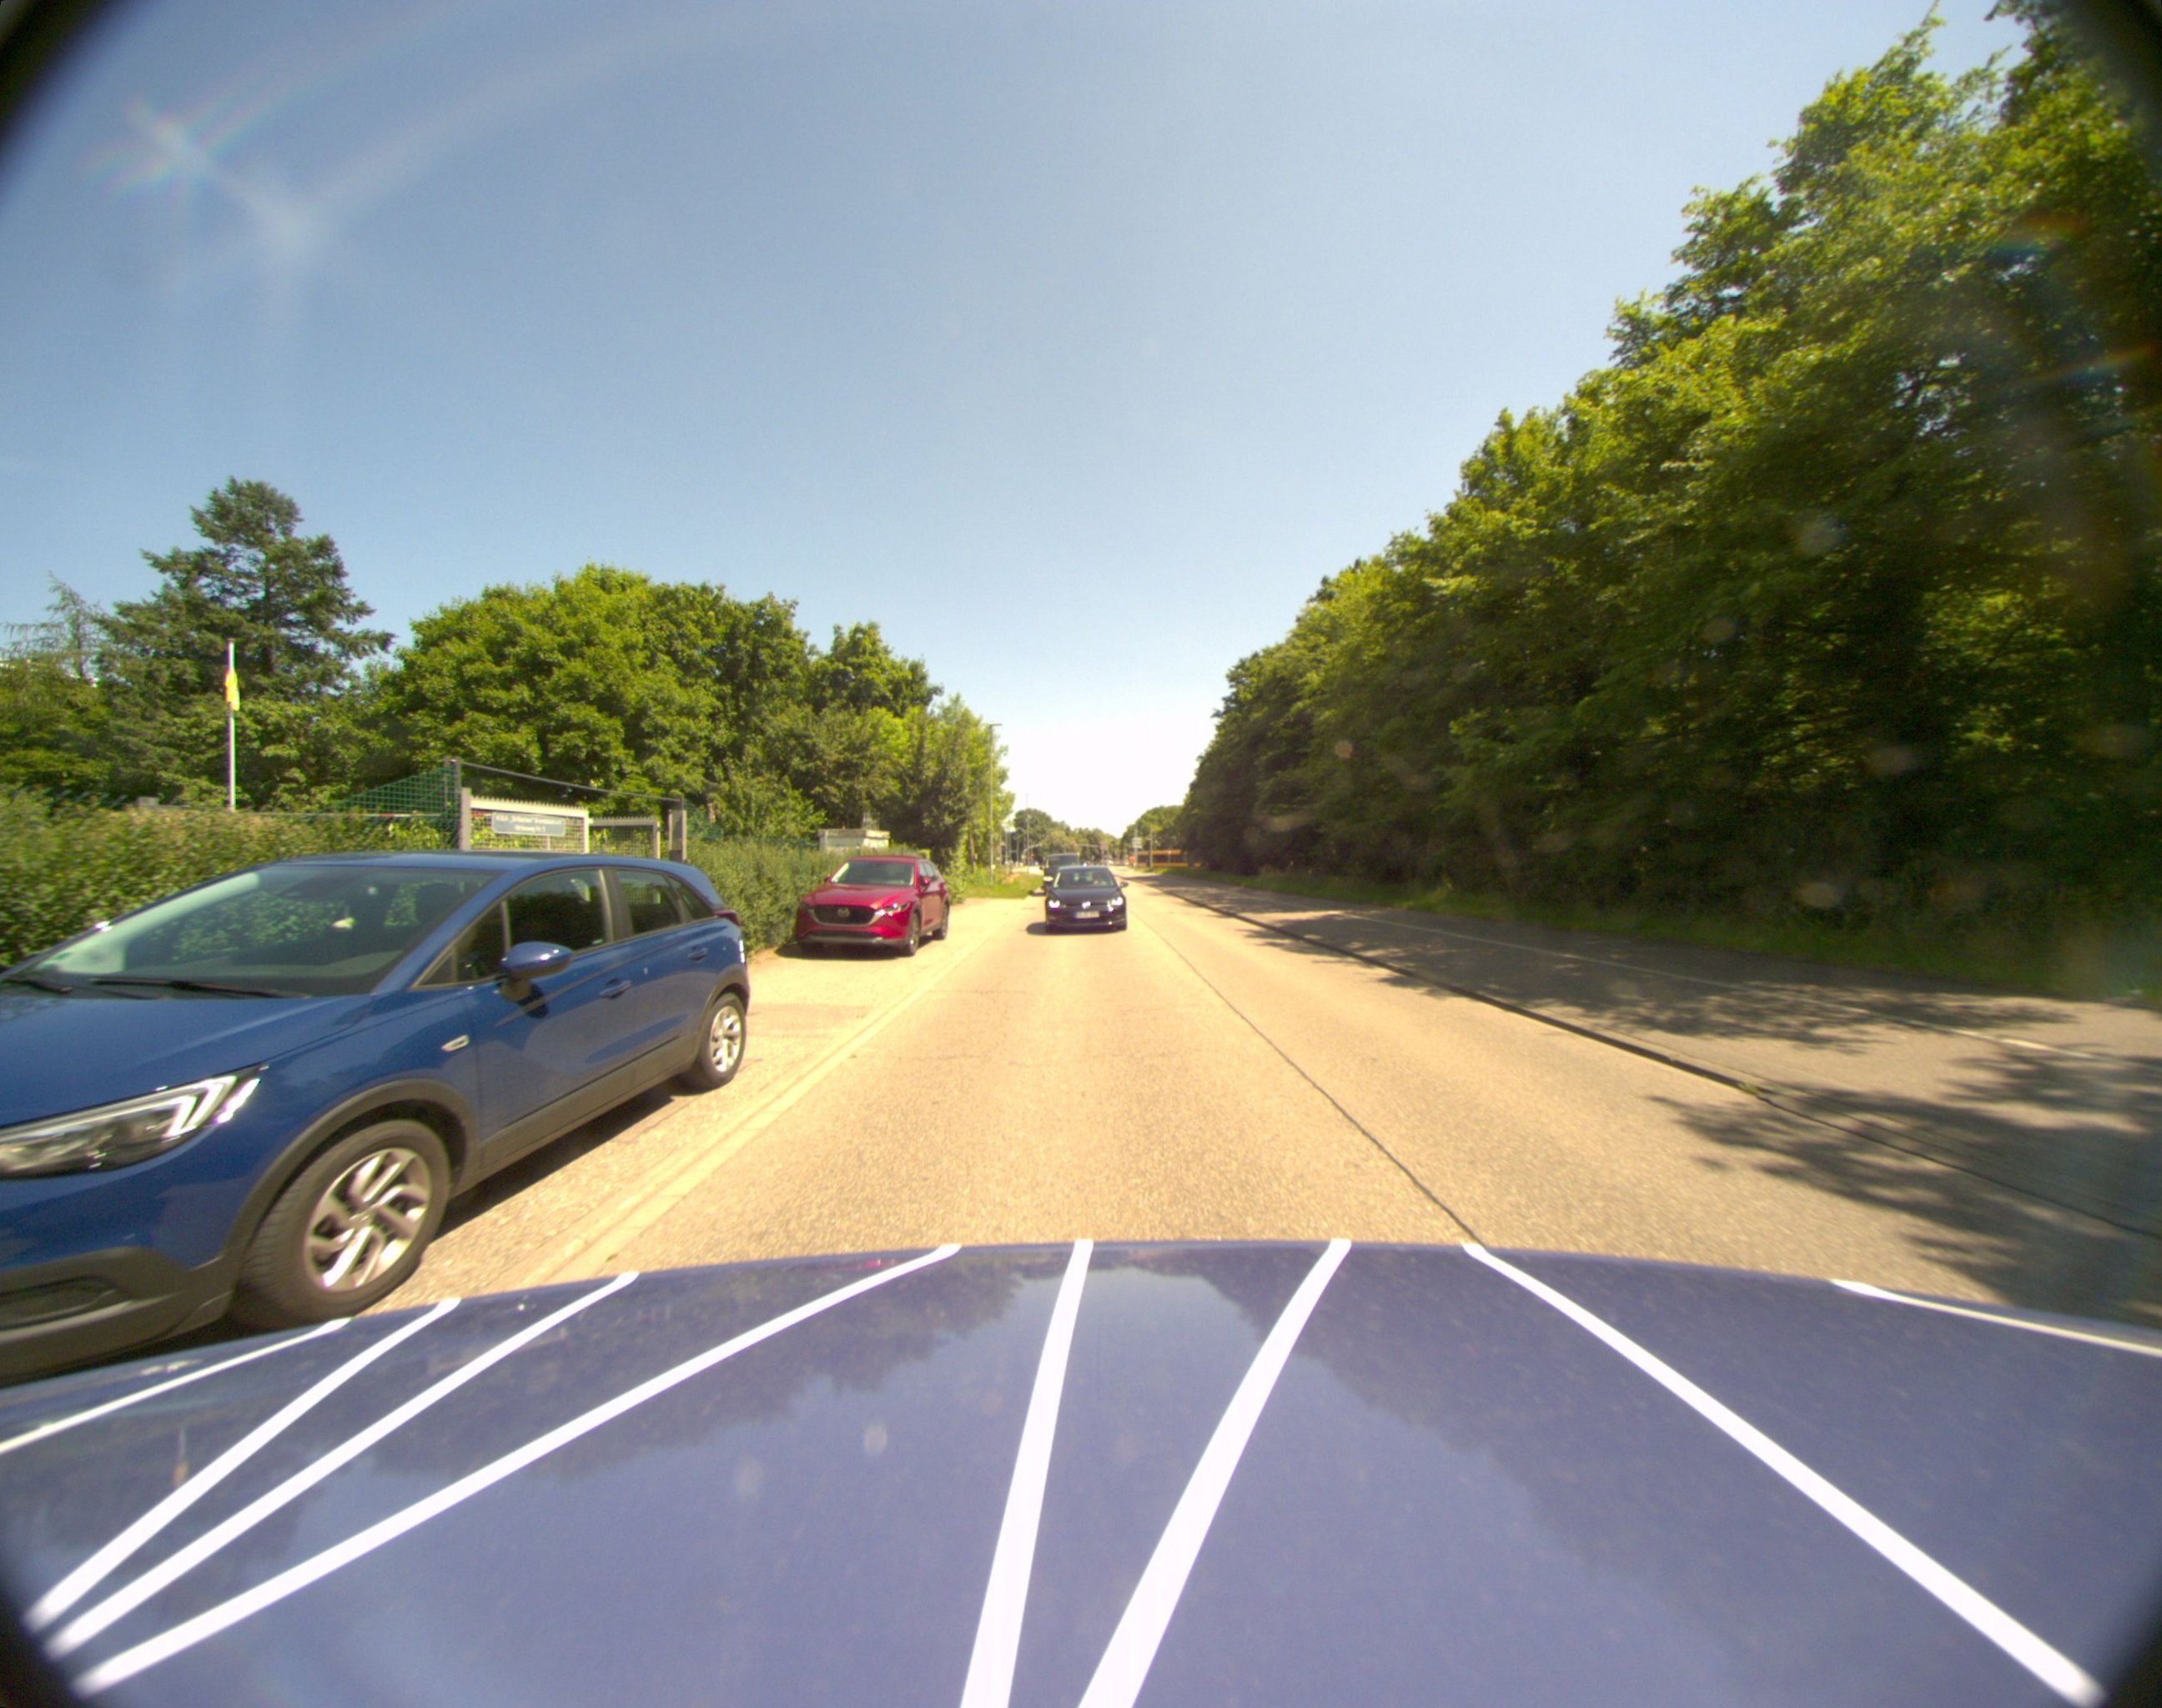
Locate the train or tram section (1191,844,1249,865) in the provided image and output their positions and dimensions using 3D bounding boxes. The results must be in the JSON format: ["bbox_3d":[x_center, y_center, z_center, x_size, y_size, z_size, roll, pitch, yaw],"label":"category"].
[{"bbox_3d":[23.615,0.088,129.284,9.327,3.445,2.788,-1,0,31],"label":"train or tram section"}]

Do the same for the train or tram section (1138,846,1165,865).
[{"bbox_3d":[13.418,0.383,145.351,2.579,3.445,10.846,-1,0,-8],"label":"train or tram section"}]

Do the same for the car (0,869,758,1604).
[{"bbox_3d":[-3.281,0.882,3.530,1.794,1.594,4.130,0,-1,0],"label":"car"}]

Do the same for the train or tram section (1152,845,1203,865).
[{"bbox_3d":[17.133,0.252,135.686,2.656,3.446,10.827,-2,0,-33],"label":"train or tram section"}]

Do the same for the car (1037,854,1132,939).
[{"bbox_3d":[0.101,0.881,17.989,1.887,1.667,4.662,-2,0,1],"label":"car"}]

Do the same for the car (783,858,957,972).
[{"bbox_3d":[-3.555,0.933,13.726,1.794,1.648,4.452,3,0,1],"label":"car"}]

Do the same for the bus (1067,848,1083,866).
[{"bbox_3d":[-1.247,0.591,151.605,2.931,3.248,8.328,-2,0,-1],"label":"bus"}]

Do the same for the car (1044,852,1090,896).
[{"bbox_3d":[-0.746,0.909,36.694,2.002,1.965,4.449,-1,0,-4],"label":"car"}]
